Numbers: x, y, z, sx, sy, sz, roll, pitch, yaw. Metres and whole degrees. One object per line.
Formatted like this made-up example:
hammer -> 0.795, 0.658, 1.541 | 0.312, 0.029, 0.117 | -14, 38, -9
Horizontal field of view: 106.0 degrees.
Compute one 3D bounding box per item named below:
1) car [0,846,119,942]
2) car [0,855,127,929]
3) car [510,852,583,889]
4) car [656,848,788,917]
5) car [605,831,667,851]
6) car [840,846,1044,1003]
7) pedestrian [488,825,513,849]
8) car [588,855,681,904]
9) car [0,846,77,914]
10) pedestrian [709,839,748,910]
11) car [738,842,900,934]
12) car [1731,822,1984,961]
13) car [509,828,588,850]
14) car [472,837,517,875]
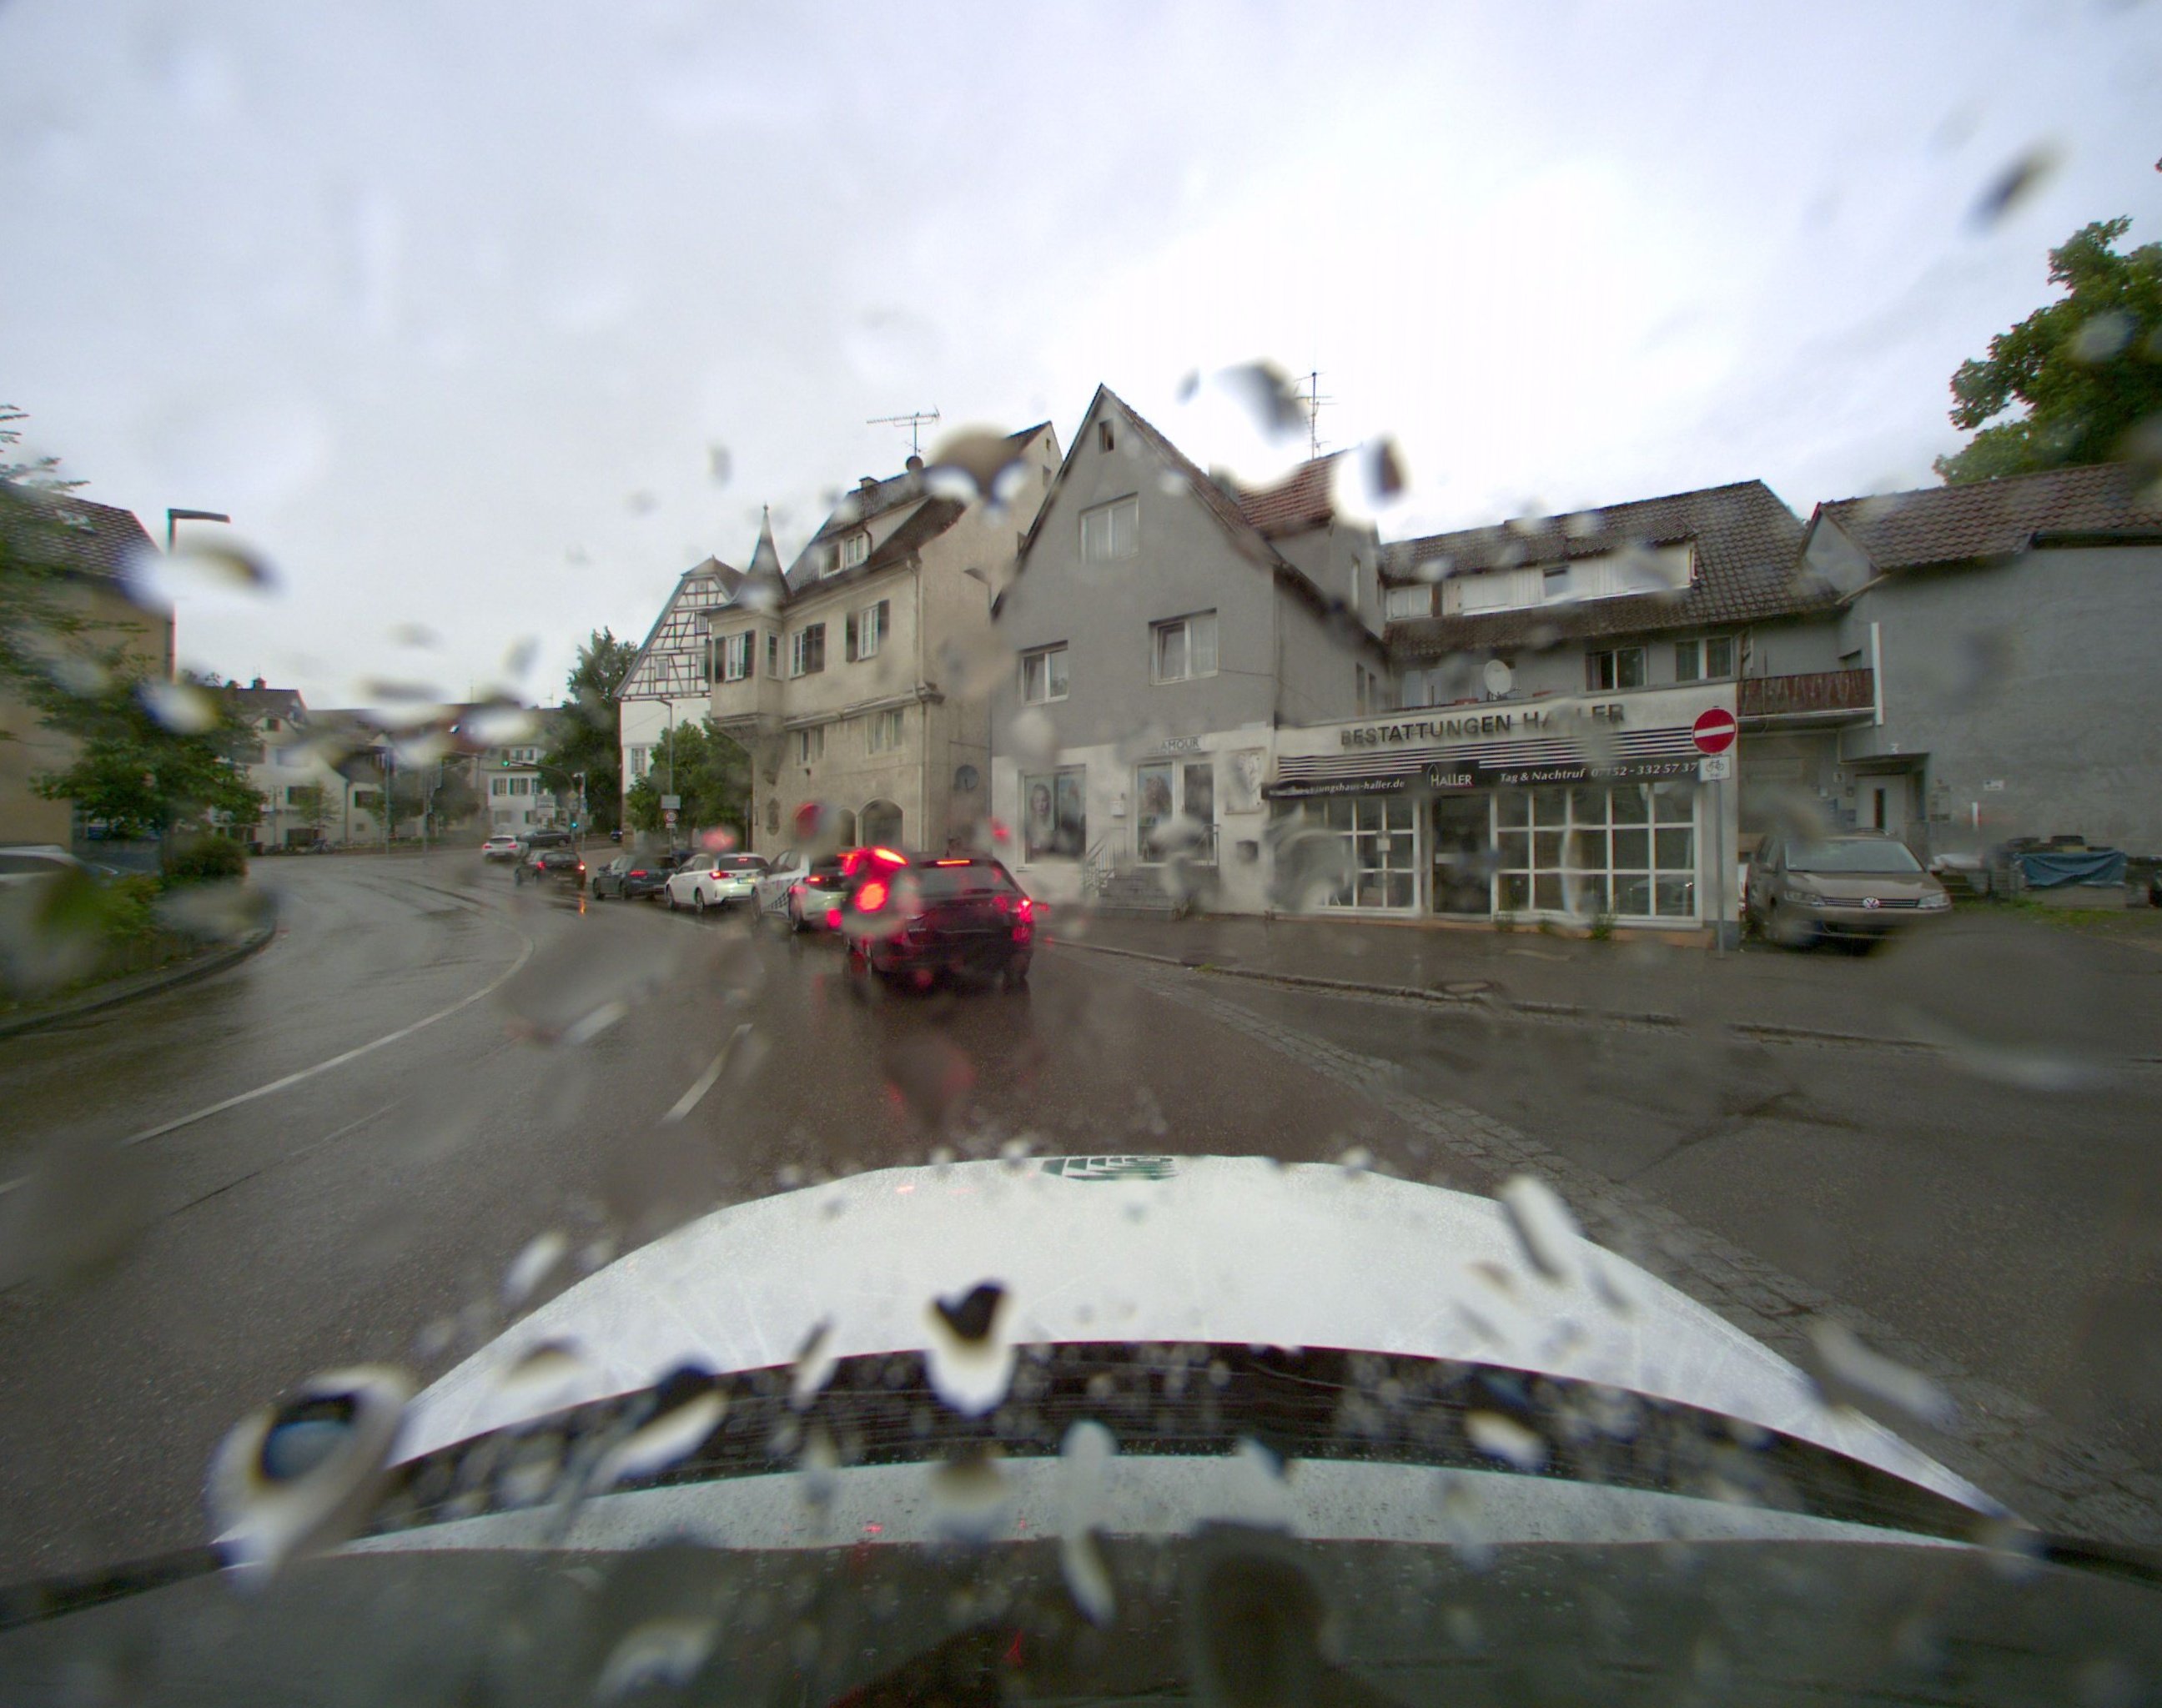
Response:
car -> -20.134, 0.724, 14.471 | 1.692, 1.685, 3.558 | 0, 1, 24
car -> -22.398, 0.776, 16.537 | 1.692, 1.455, 3.558 | 0, 1, 24
car -> -21.298, 0.609, 32.420 | 3.579, 1.312, 1.678 | 1, 2, 44
car -> -9.136, 0.630, 20.585 | 1.801, 1.465, 4.114 | -3, 2, -42
car -> -35.745, -1.047, 65.573 | 1.673, 1.389, 4.108 | 7, 3, 23
car -> -1.948, 0.660, 10.180 | 1.738, 1.450, 4.212 | -2, 2, -21
pedestrian -> -42.719, -1.238, 59.928 | 0.992, 1.742, 1.156 | -1, 0, 26
car -> -14.139, 0.744, 25.687 | 3.721, 1.361, 1.533 | 1, 2, 44
car -> -26.204, 0.620, 18.742 | 1.692, 1.576, 3.558 | 0, 1, 24
pedestrian -> -11.863, 0.665, 27.408 | 0.872, 2.326, 1.216 | -1, 0, -40
car -> -5.298, 0.580, 16.119 | 1.803, 1.517, 4.194 | -2, 1, -36
car -> 11.718, 0.401, 12.698 | 1.905, 1.727, 4.698 | -1, 2, 32
car -> -38.478, -1.067, 59.008 | 1.632, 1.389, 4.555 | 7, 3, 23
car -> -33.820, 0.063, 46.979 | 1.988, 2.090, 3.918 | -2, 2, -36
